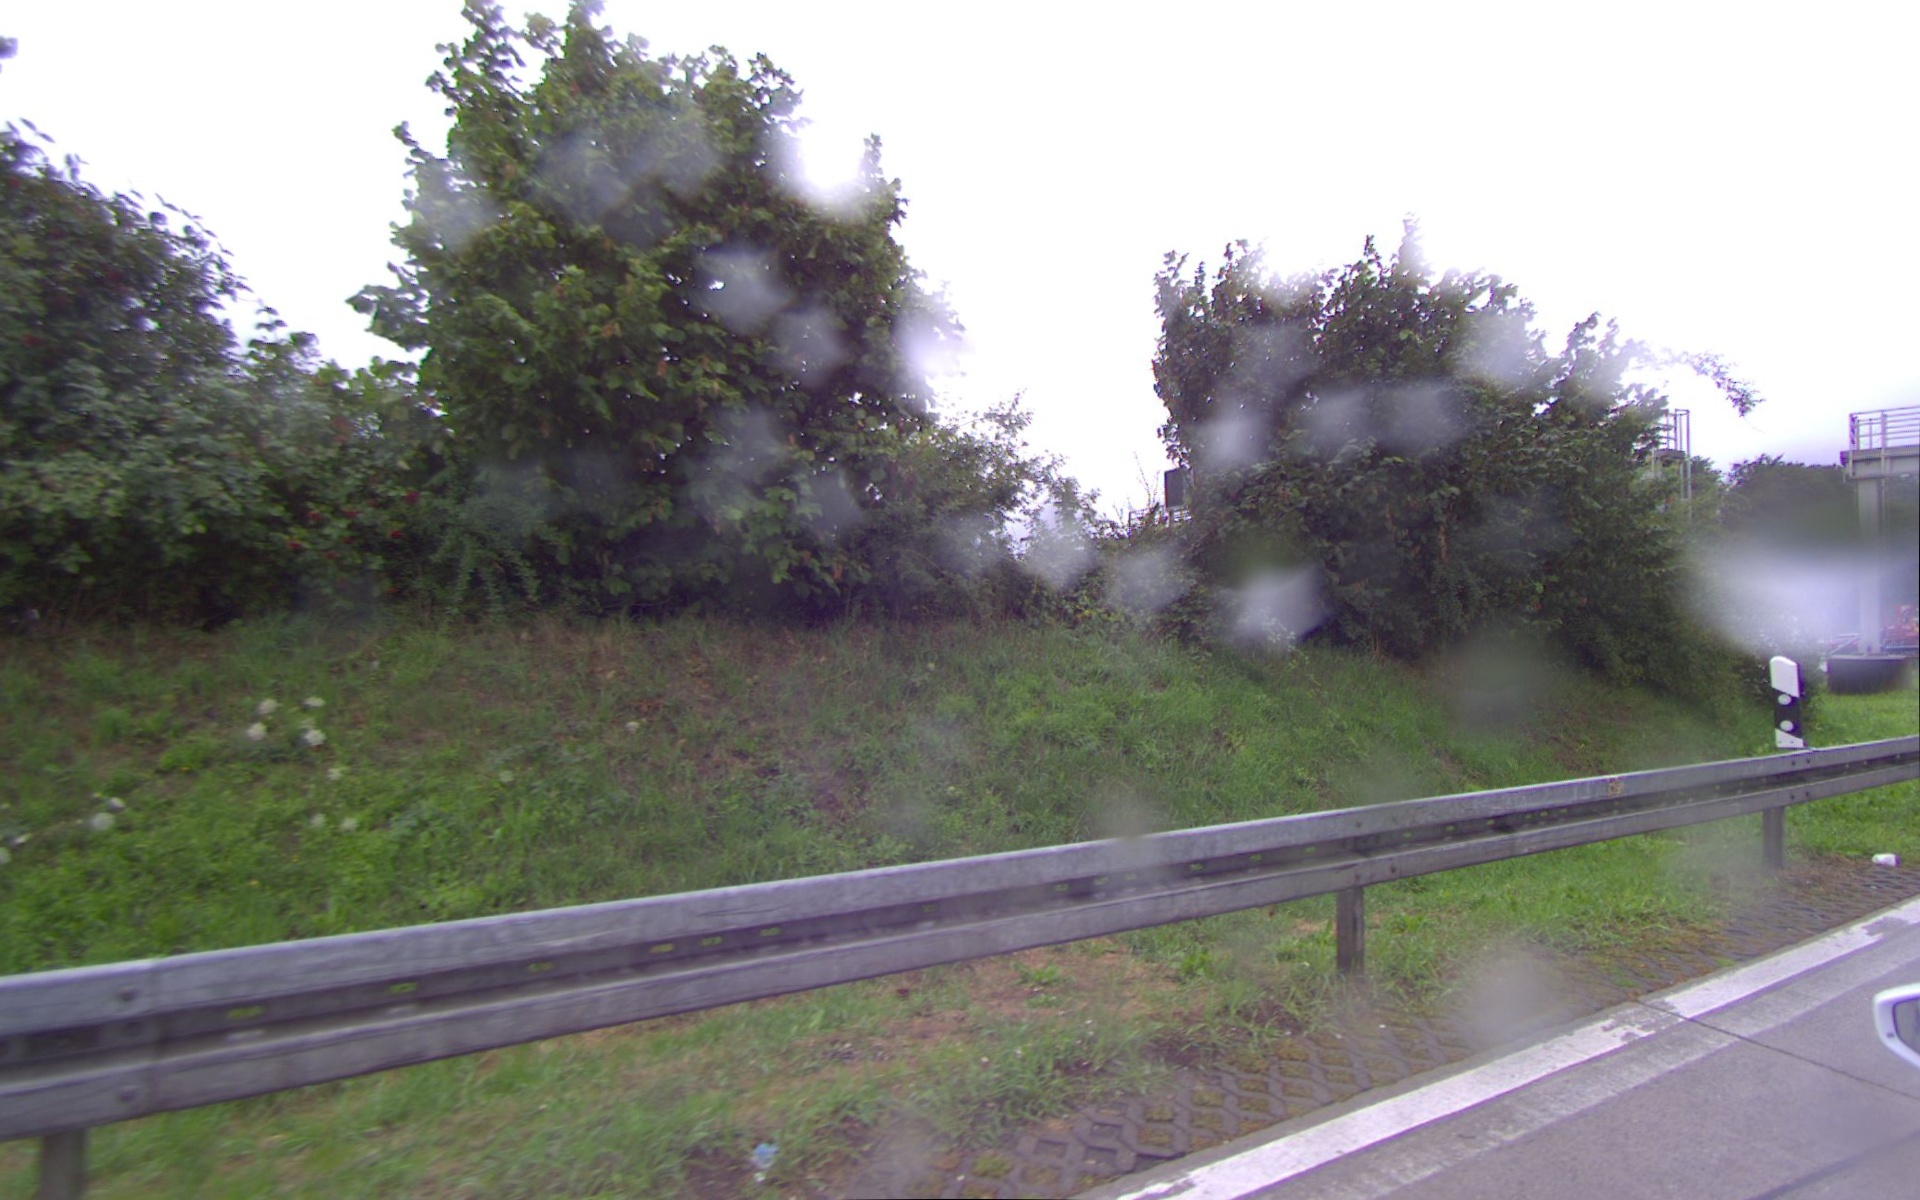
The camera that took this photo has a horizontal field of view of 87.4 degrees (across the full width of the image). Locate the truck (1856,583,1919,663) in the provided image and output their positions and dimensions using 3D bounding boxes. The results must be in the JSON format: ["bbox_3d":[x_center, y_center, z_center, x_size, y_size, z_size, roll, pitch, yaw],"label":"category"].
[{"bbox_3d":[48.447,1.100,49.136,11.646,3.635,2.821,0,-3,-28],"label":"truck"}]

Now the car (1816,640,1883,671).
[{"bbox_3d":[53.569,3.342,60.488,3.952,1.750,1.777,2,0,-29],"label":"car"}]

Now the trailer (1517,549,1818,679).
[{"bbox_3d":[26.425,0.594,37.180,13.454,4.260,2.910,1,-3,-26],"label":"trailer"}]

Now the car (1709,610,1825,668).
[{"bbox_3d":[39.248,1.882,48.830,5.768,2.664,2.208,0,-3,-27],"label":"car"}]
